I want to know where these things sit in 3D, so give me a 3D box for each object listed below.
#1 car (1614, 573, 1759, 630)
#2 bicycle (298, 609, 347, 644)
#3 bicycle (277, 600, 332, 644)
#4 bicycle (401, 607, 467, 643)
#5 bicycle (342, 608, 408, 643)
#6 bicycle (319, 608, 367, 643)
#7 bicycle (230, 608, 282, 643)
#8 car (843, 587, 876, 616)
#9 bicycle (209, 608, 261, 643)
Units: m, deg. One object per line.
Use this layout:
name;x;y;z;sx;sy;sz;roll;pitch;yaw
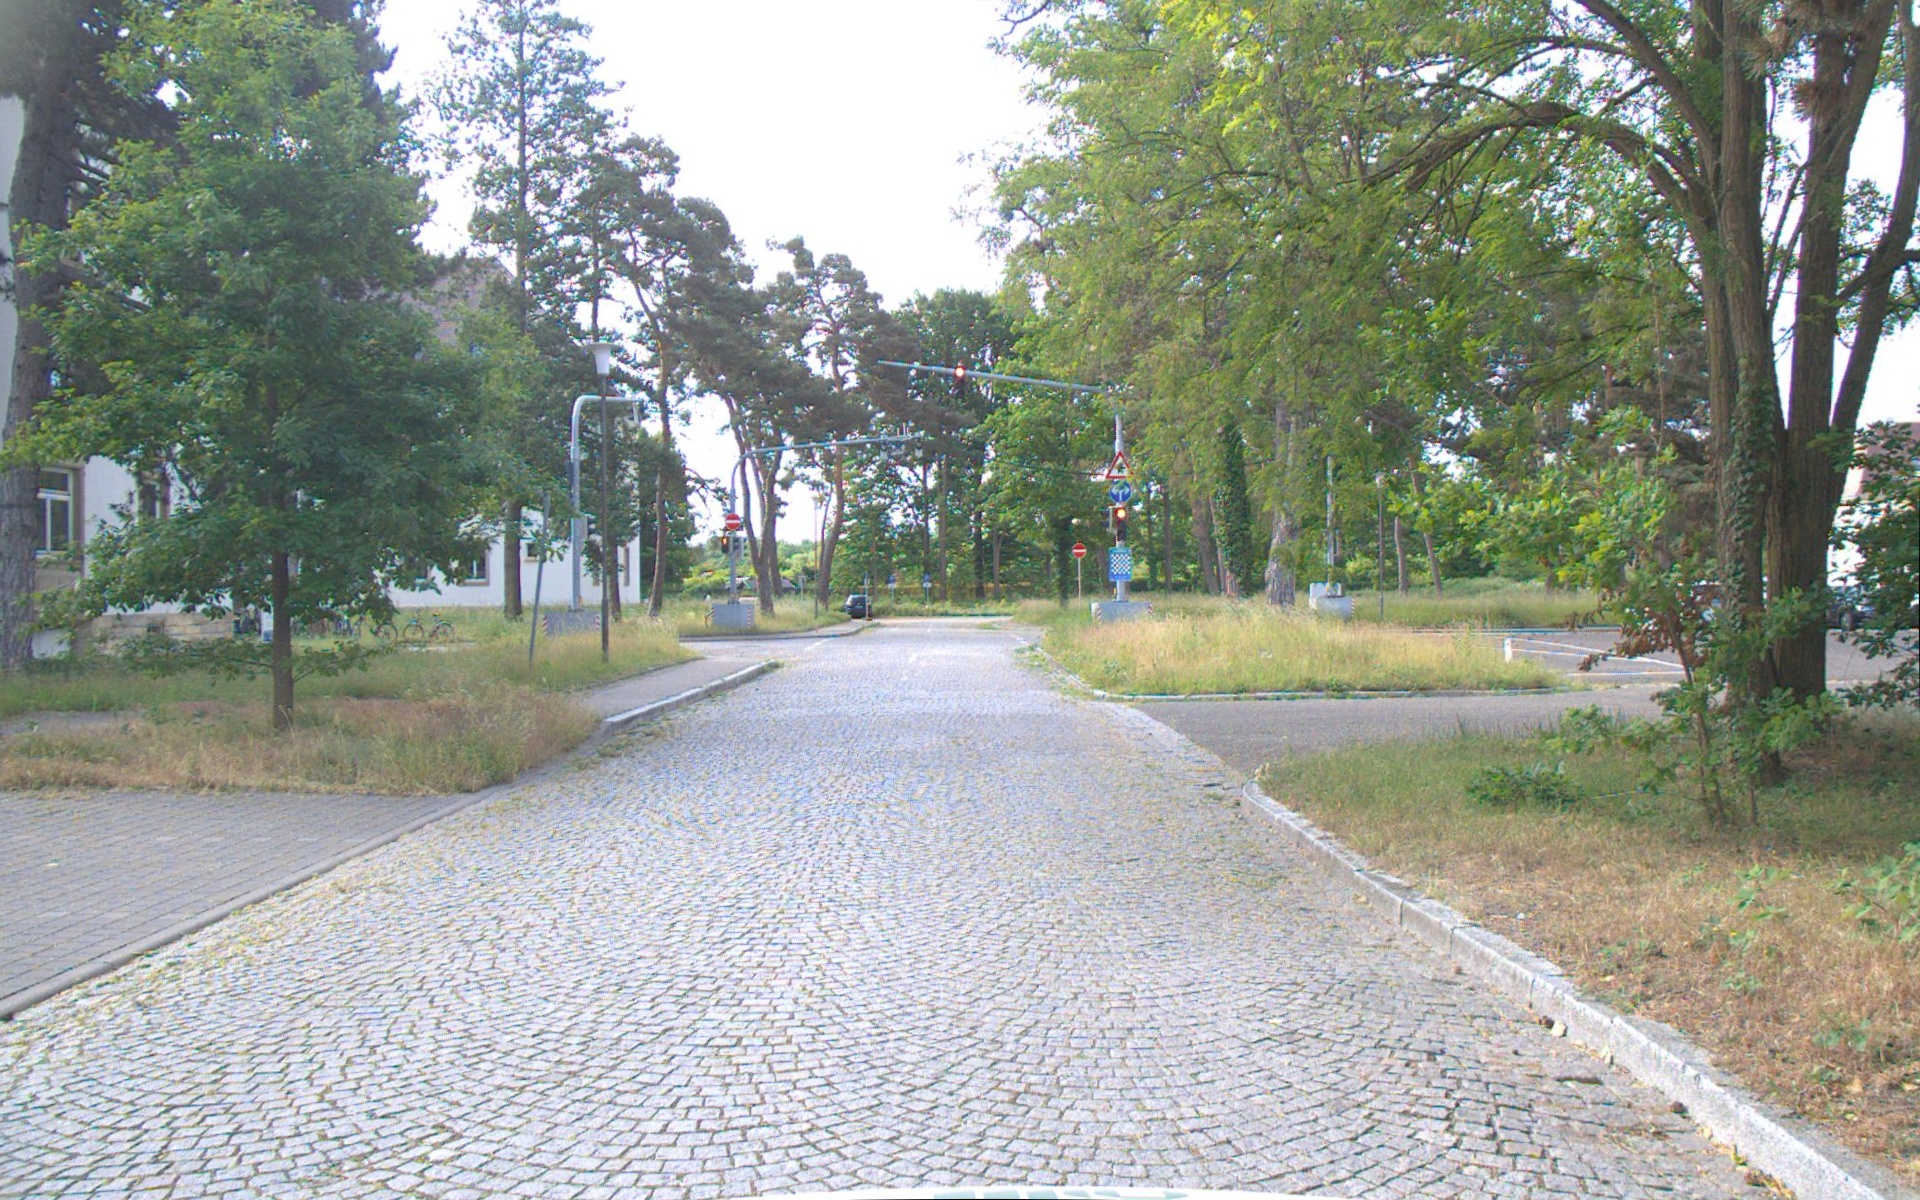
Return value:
car;20.705;0.078;47.355;1.954;1.507;4.421;-1;-1;-4
bicycle;-20.804;0.844;54.046;0.721;1.095;2.273;-1;0;0
bicycle;-21.540;0.702;54.390;0.721;1.410;2.711;-1;0;0
bicycle;-16.851;0.793;52.975;1.818;1.095;0.831;-1;0;1
bicycle;-18.701;0.806;52.908;1.818;1.095;0.738;-1;0;1
bicycle;-20.176;0.830;54.136;0.721;1.095;2.273;-1;0;0
bicycle;-22.954;0.828;53.985;0.721;1.095;2.273;-1;0;0
car;-6.711;0.115;110.464;2.014;1.878;3.999;-1;0;-2
bicycle;-23.673;0.833;54.045;0.721;1.095;2.273;-1;0;0
